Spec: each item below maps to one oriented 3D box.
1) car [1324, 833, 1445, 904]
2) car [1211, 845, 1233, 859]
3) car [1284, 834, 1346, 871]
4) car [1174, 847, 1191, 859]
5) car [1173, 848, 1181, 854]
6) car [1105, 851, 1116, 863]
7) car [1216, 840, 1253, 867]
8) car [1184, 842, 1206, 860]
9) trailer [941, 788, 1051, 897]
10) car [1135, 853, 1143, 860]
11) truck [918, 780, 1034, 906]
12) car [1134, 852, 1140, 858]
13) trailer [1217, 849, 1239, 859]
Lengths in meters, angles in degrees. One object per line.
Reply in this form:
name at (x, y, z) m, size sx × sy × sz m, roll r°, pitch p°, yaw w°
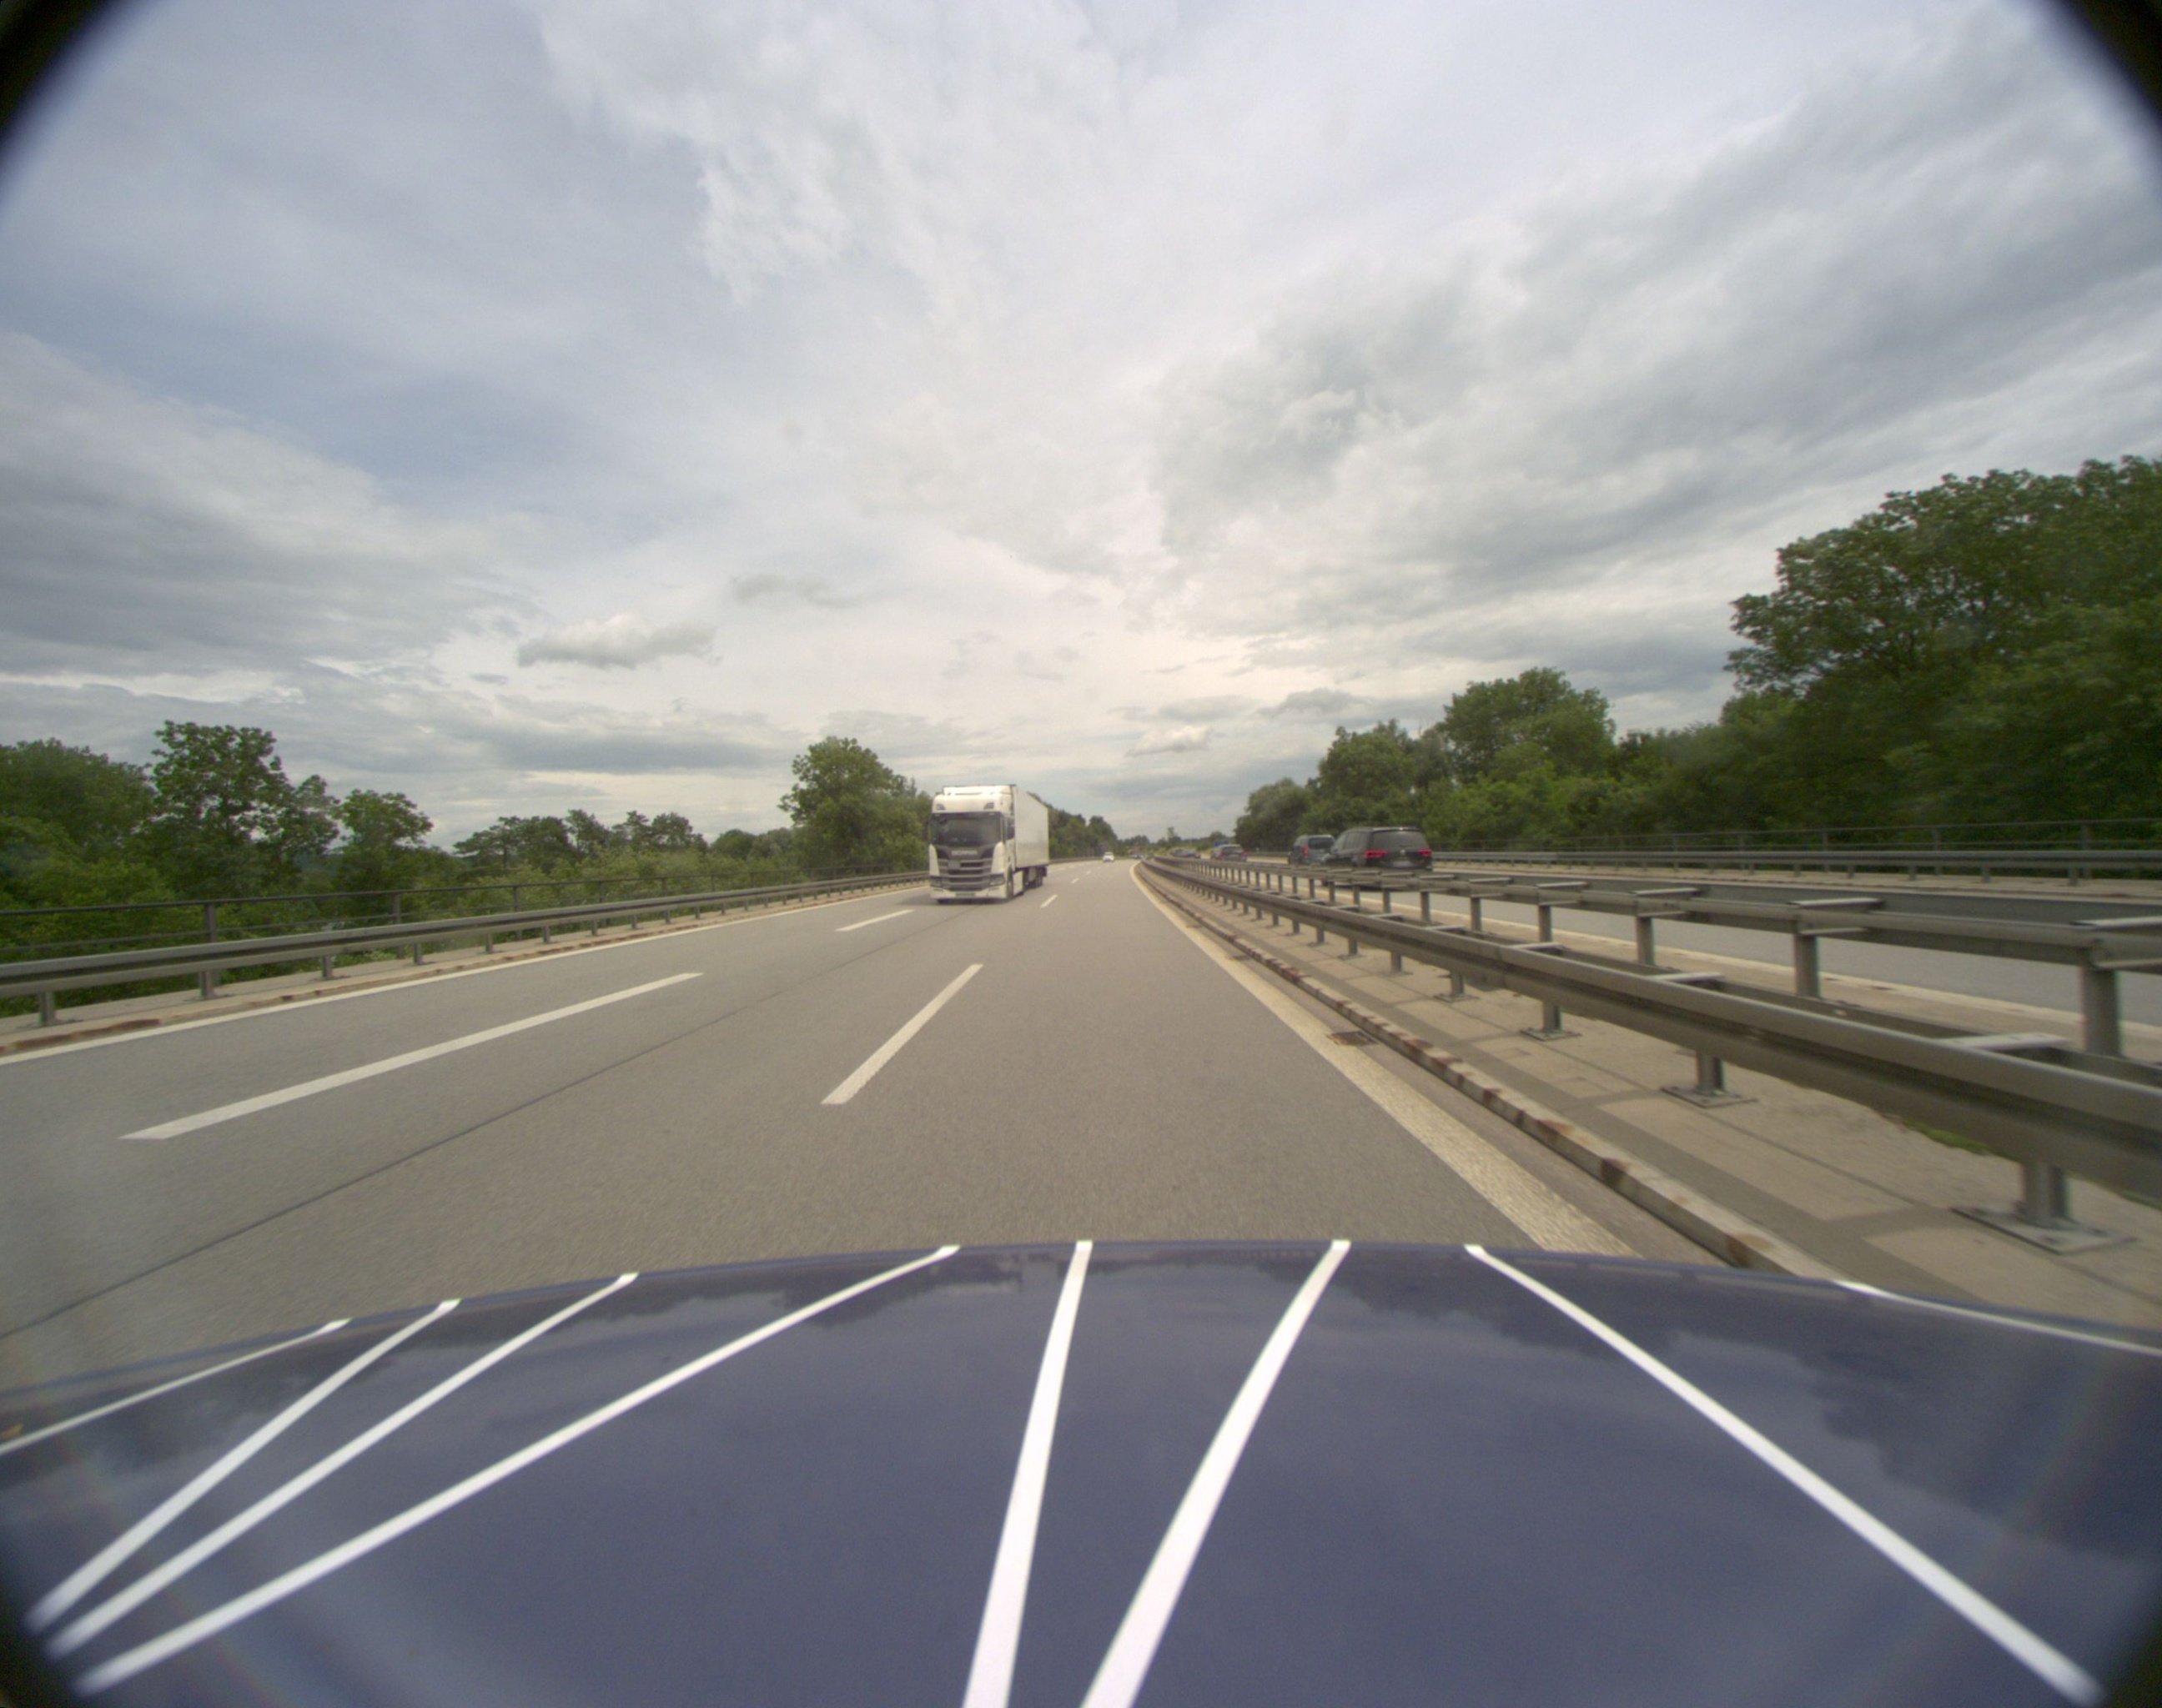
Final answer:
car at (7.733, 0.325, 19.771) m, size 1.648 × 1.596 × 4.000 m, roll -2°, pitch 0°, yaw 3°
car at (15.951, -0.225, 86.210) m, size 1.741 × 1.402 × 4.943 m, roll -2°, pitch 0°, yaw 2°
car at (12.182, -0.088, 39.837) m, size 1.998 × 1.735 × 4.225 m, roll -2°, pitch 0°, yaw 2°
car at (12.459, -0.143, 93.631) m, size 1.695 × 1.428 × 4.111 m, roll -2°, pitch 0°, yaw 4°
car at (25.078, -0.715, 199.145) m, size 1.689 × 1.368 × 4.359 m, roll -3°, pitch 1°, yaw 4°
car at (4.947, 0.534, 128.889) m, size 1.775 × 1.814 × 4.165 m, roll -3°, pitch 1°, yaw 2°
car at (9.260, -0.039, 46.078) m, size 1.648 × 1.540 × 4.001 m, roll -1°, pitch 0°, yaw 4°
car at (10.579, -0.299, 70.582) m, size 1.648 × 1.540 × 4.001 m, roll -1°, pitch 0°, yaw 4°
trailer at (-3.335, -0.415, 34.258) m, size 3.070 × 3.868 × 13.790 m, roll -2°, pitch 0°, yaw 1°
car at (13.027, 0.481, 170.760) m, size 1.774 × 1.474 × 4.697 m, roll -2°, pitch 0°, yaw 3°
truck at (-3.490, -0.353, 26.879) m, size 3.070 × 3.869 × 6.000 m, roll -2°, pitch 0°, yaw 1°
car at (16.202, 0.352, 218.507) m, size 1.649 × 1.685 × 4.738 m, roll -2°, pitch 0°, yaw 4°
trailer at (15.784, 0.019, 81.718) m, size 1.672 × 0.946 × 4.000 m, roll -2°, pitch 0°, yaw 2°
